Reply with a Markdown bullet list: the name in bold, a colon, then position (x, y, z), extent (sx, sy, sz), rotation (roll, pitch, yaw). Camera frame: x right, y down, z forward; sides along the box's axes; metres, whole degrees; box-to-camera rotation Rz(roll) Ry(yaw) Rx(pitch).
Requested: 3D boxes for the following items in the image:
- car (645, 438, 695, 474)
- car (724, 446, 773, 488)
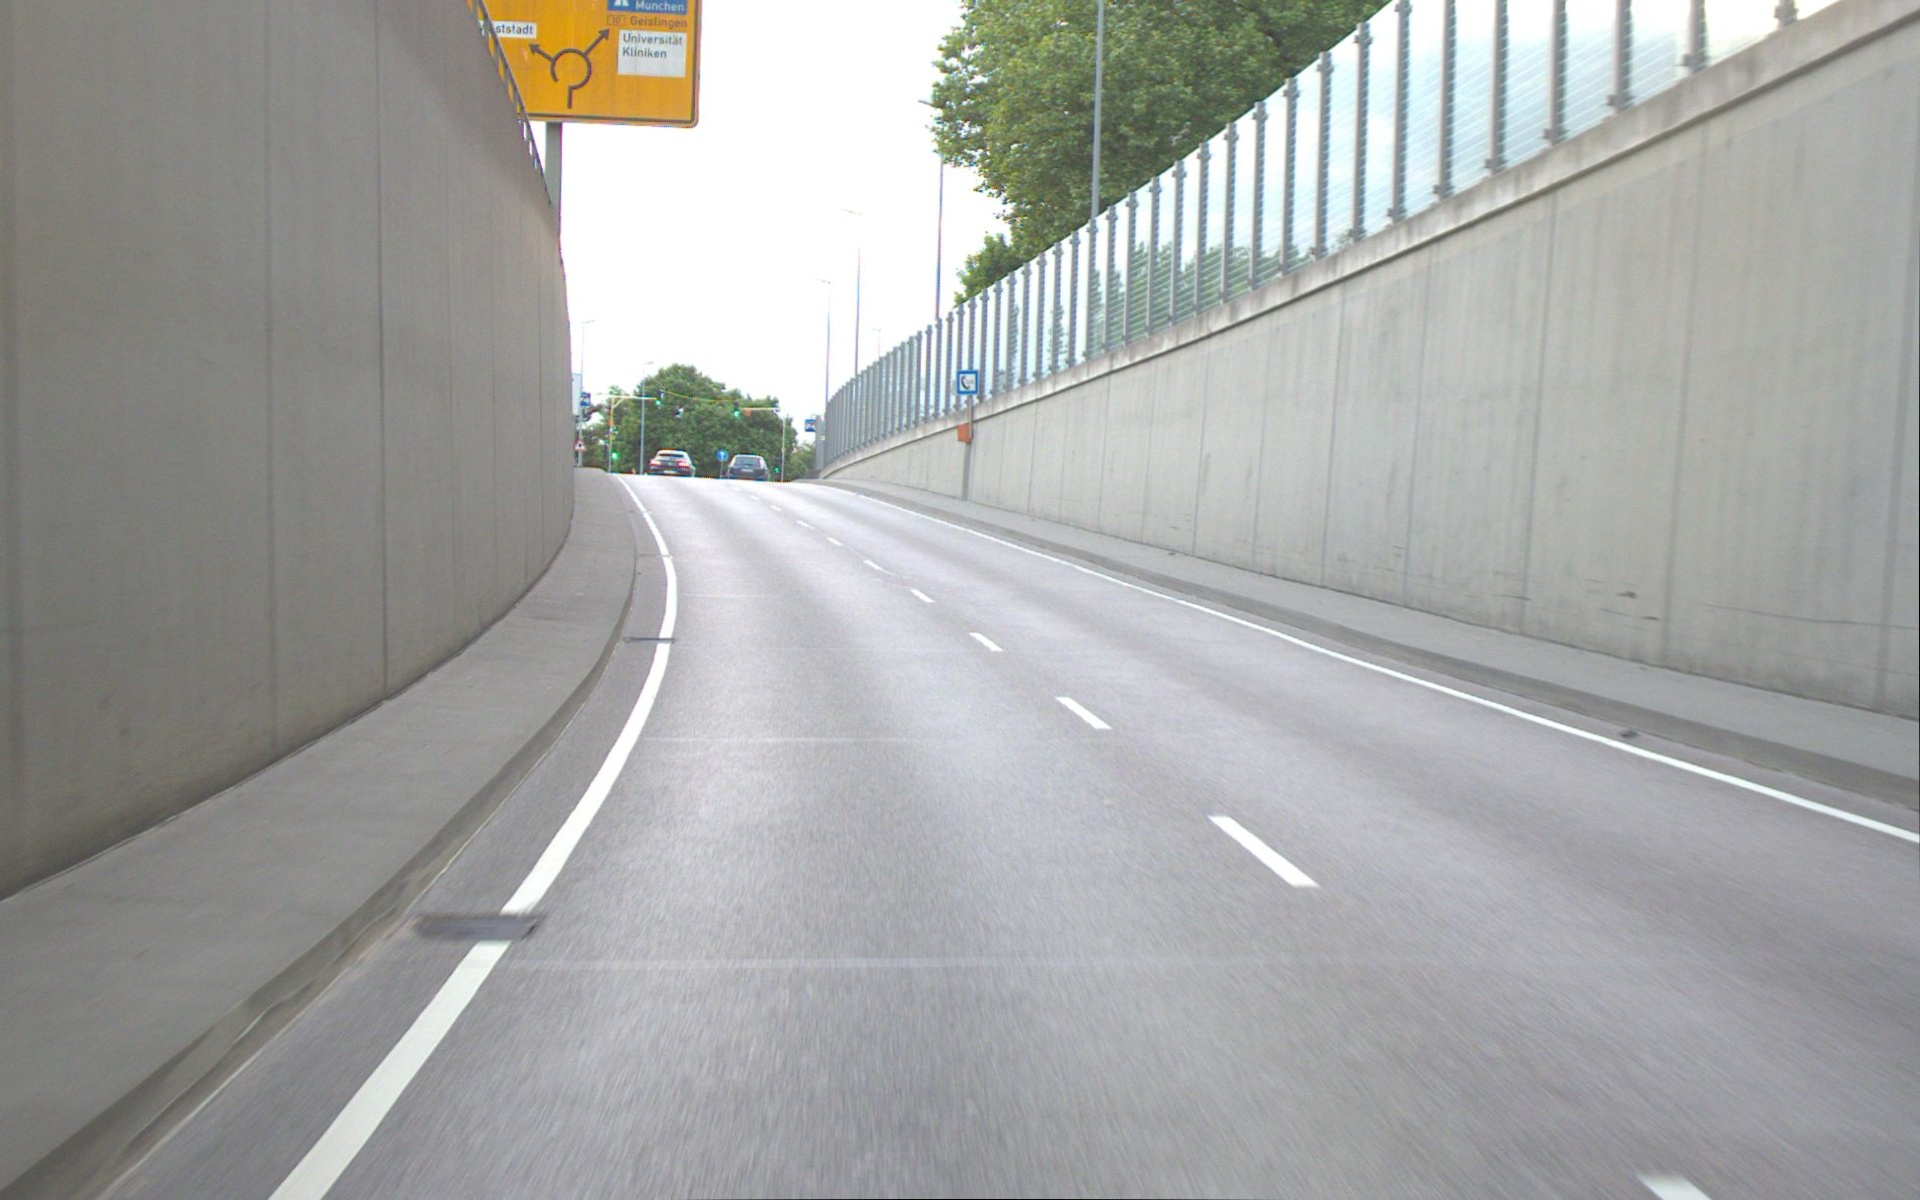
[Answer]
- **car**: position (-12.658, -6.260, 149.869), extent (1.841, 1.384, 4.001), rotation (2, 1, -9)
- **car**: position (-9.440, -5.913, 153.108), extent (1.869, 1.726, 4.001), rotation (2, 1, -7)
